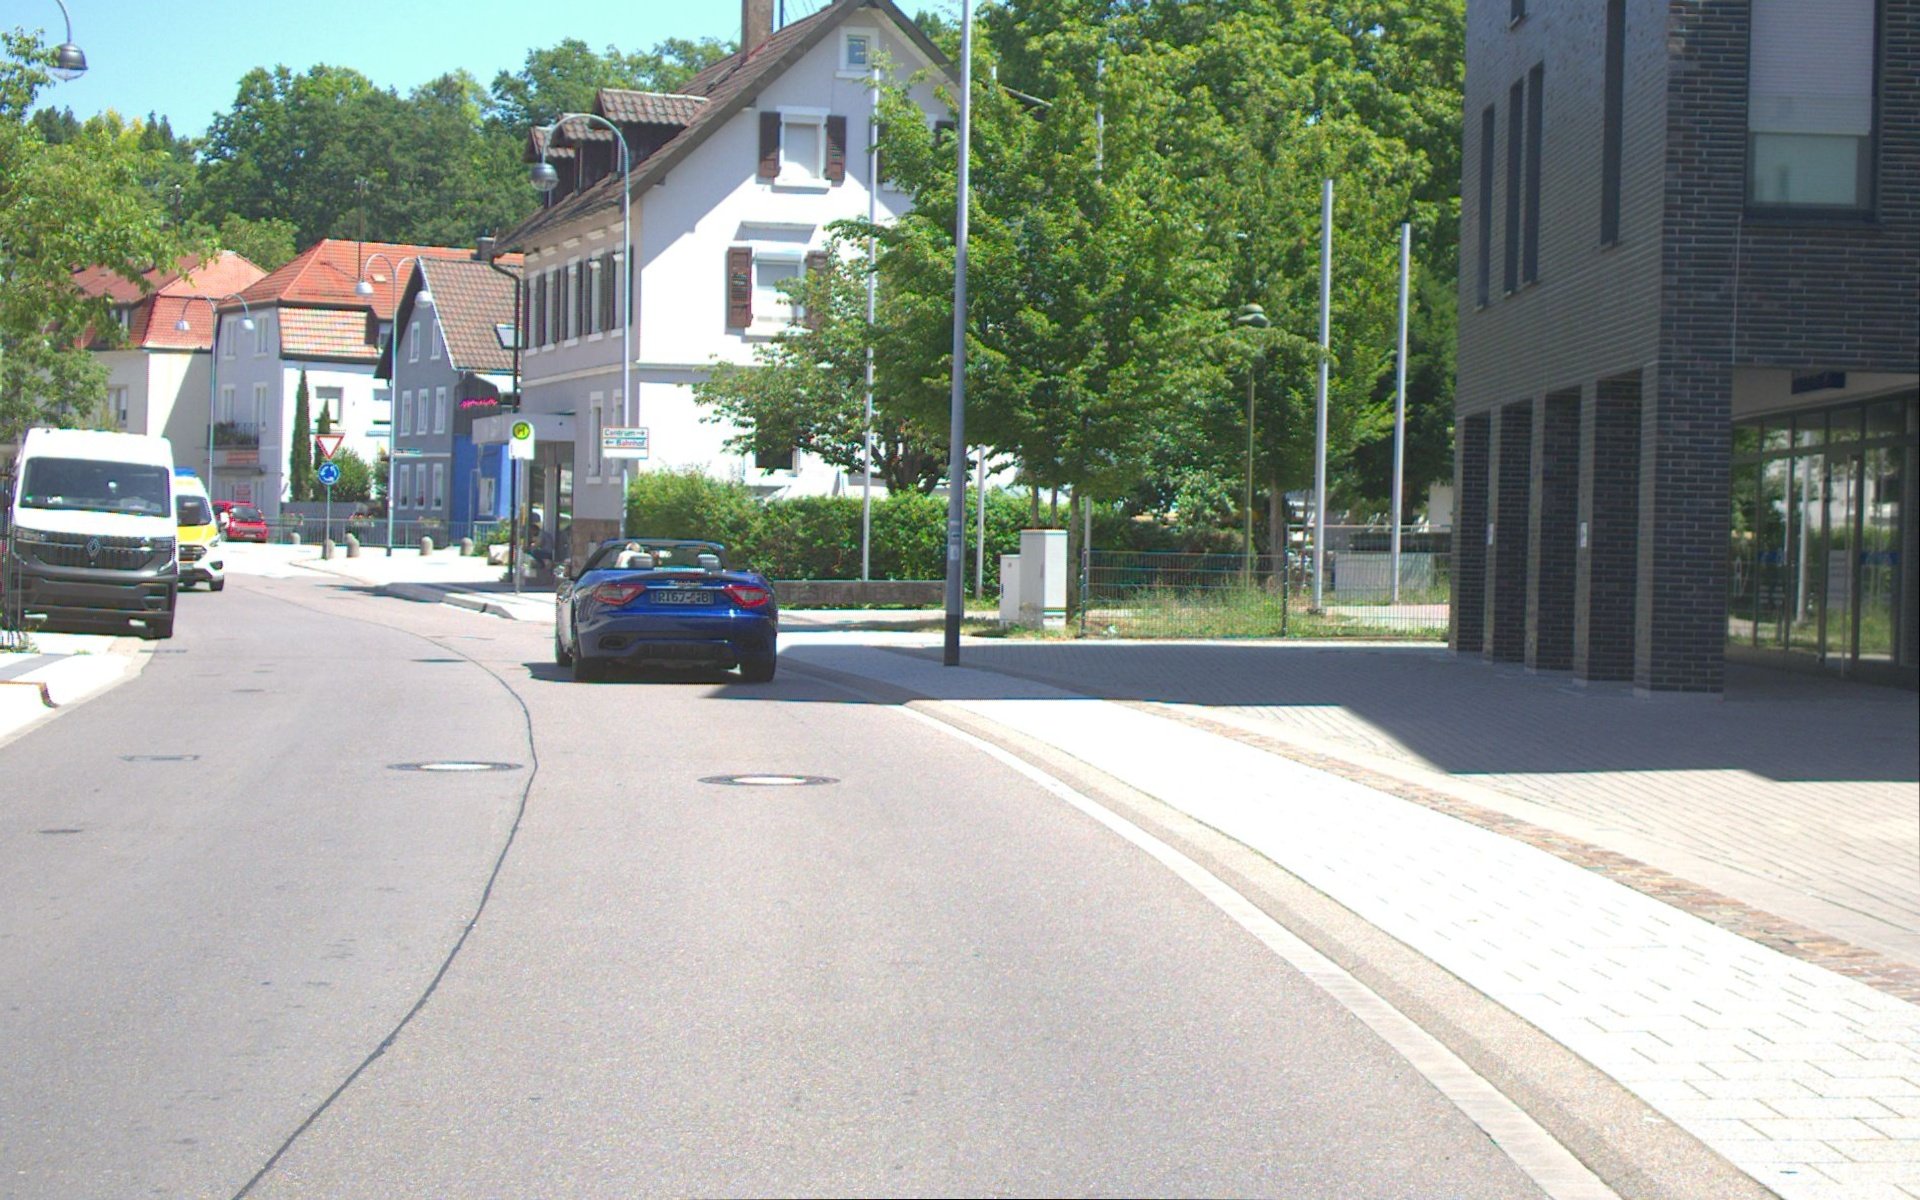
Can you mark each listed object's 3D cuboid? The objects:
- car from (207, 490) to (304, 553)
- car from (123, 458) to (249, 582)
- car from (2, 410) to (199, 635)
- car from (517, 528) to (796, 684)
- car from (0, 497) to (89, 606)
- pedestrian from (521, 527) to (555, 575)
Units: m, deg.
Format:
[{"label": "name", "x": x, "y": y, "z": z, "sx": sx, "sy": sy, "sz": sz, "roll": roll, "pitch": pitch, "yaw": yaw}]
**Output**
[{"label": "car", "x": -23.639, "y": -2.650, "z": 115.290, "sx": 1.993, "sy": 2.007, "sz": 4.000, "roll": 1, "pitch": 1, "yaw": -30}, {"label": "car", "x": -15.395, "y": -1.591, "z": 68.211, "sx": 2.155, "sy": 2.354, "sz": 5.249, "roll": 0, "pitch": 2, "yaw": -16}, {"label": "car", "x": -10.627, "y": -0.957, "z": 42.414, "sx": 2.091, "sy": 2.489, "sz": 5.505, "roll": 3, "pitch": 1, "yaw": -15}, {"label": "car", "x": -3.015, "y": 0.018, "z": 33.310, "sx": 1.910, "sy": 1.356, "sz": 4.287, "roll": 1, "pitch": 1, "yaw": -16}, {"label": "car", "x": -13.635, "y": -0.718, "z": 50.505, "sx": 1.559, "sy": 1.515, "sz": 3.517, "roll": 2, "pitch": 1, "yaw": -14}, {"label": "pedestrian", "x": -8.998, "y": -1.049, "z": 73.289, "sx": 0.590, "sy": 0.996, "sz": 0.724, "roll": 0, "pitch": 2, "yaw": -18}]
